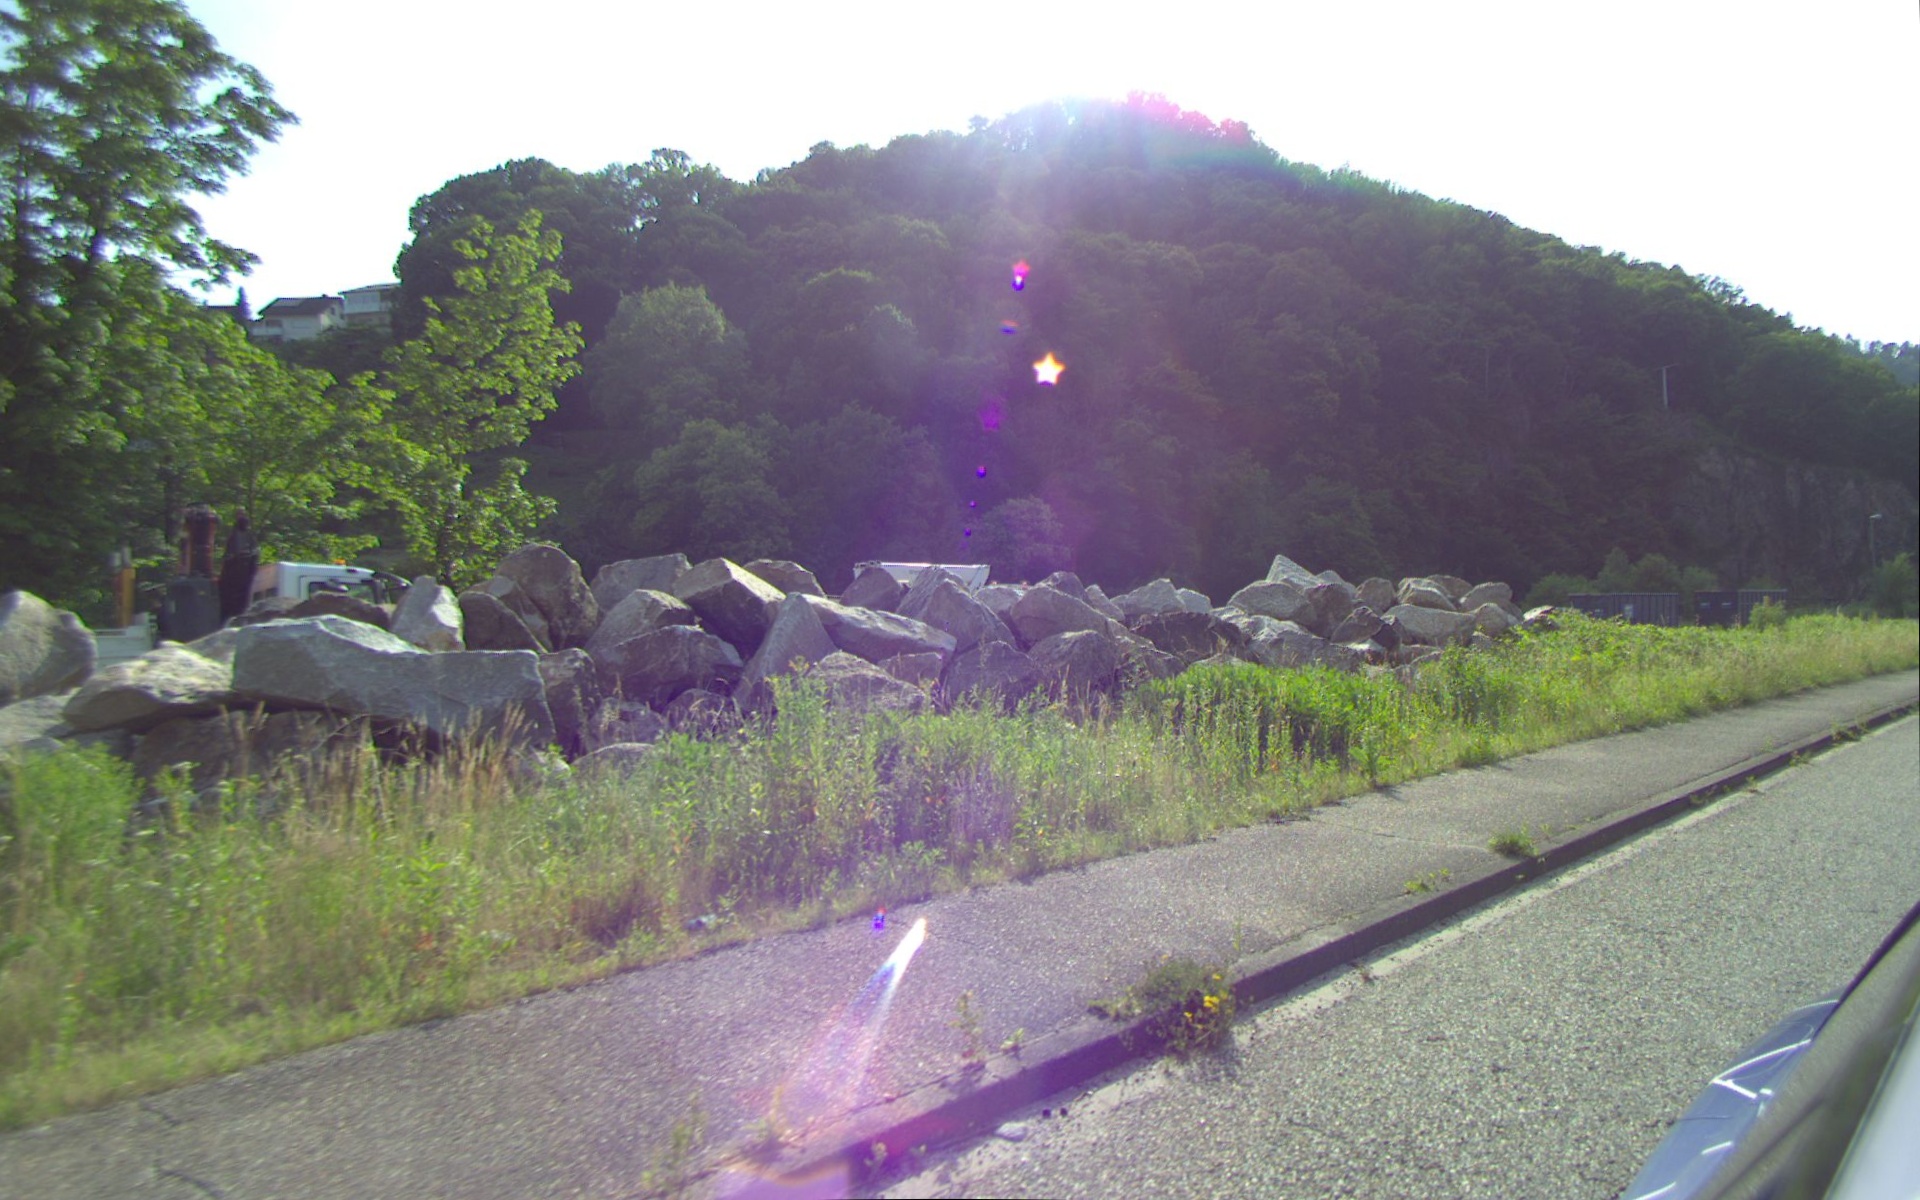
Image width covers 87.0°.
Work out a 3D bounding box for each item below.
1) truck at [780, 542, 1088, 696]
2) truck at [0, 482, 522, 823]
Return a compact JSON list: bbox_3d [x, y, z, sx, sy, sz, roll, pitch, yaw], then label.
[{"bbox_3d":[-0.559,0.487,28.918,8.483,3.831,3.111,-1,-2,-37],"label":"truck"},{"bbox_3d":[-10.804,0.635,13.568,3.103,3.831,8.505,-3,-2,44],"label":"truck"}]
